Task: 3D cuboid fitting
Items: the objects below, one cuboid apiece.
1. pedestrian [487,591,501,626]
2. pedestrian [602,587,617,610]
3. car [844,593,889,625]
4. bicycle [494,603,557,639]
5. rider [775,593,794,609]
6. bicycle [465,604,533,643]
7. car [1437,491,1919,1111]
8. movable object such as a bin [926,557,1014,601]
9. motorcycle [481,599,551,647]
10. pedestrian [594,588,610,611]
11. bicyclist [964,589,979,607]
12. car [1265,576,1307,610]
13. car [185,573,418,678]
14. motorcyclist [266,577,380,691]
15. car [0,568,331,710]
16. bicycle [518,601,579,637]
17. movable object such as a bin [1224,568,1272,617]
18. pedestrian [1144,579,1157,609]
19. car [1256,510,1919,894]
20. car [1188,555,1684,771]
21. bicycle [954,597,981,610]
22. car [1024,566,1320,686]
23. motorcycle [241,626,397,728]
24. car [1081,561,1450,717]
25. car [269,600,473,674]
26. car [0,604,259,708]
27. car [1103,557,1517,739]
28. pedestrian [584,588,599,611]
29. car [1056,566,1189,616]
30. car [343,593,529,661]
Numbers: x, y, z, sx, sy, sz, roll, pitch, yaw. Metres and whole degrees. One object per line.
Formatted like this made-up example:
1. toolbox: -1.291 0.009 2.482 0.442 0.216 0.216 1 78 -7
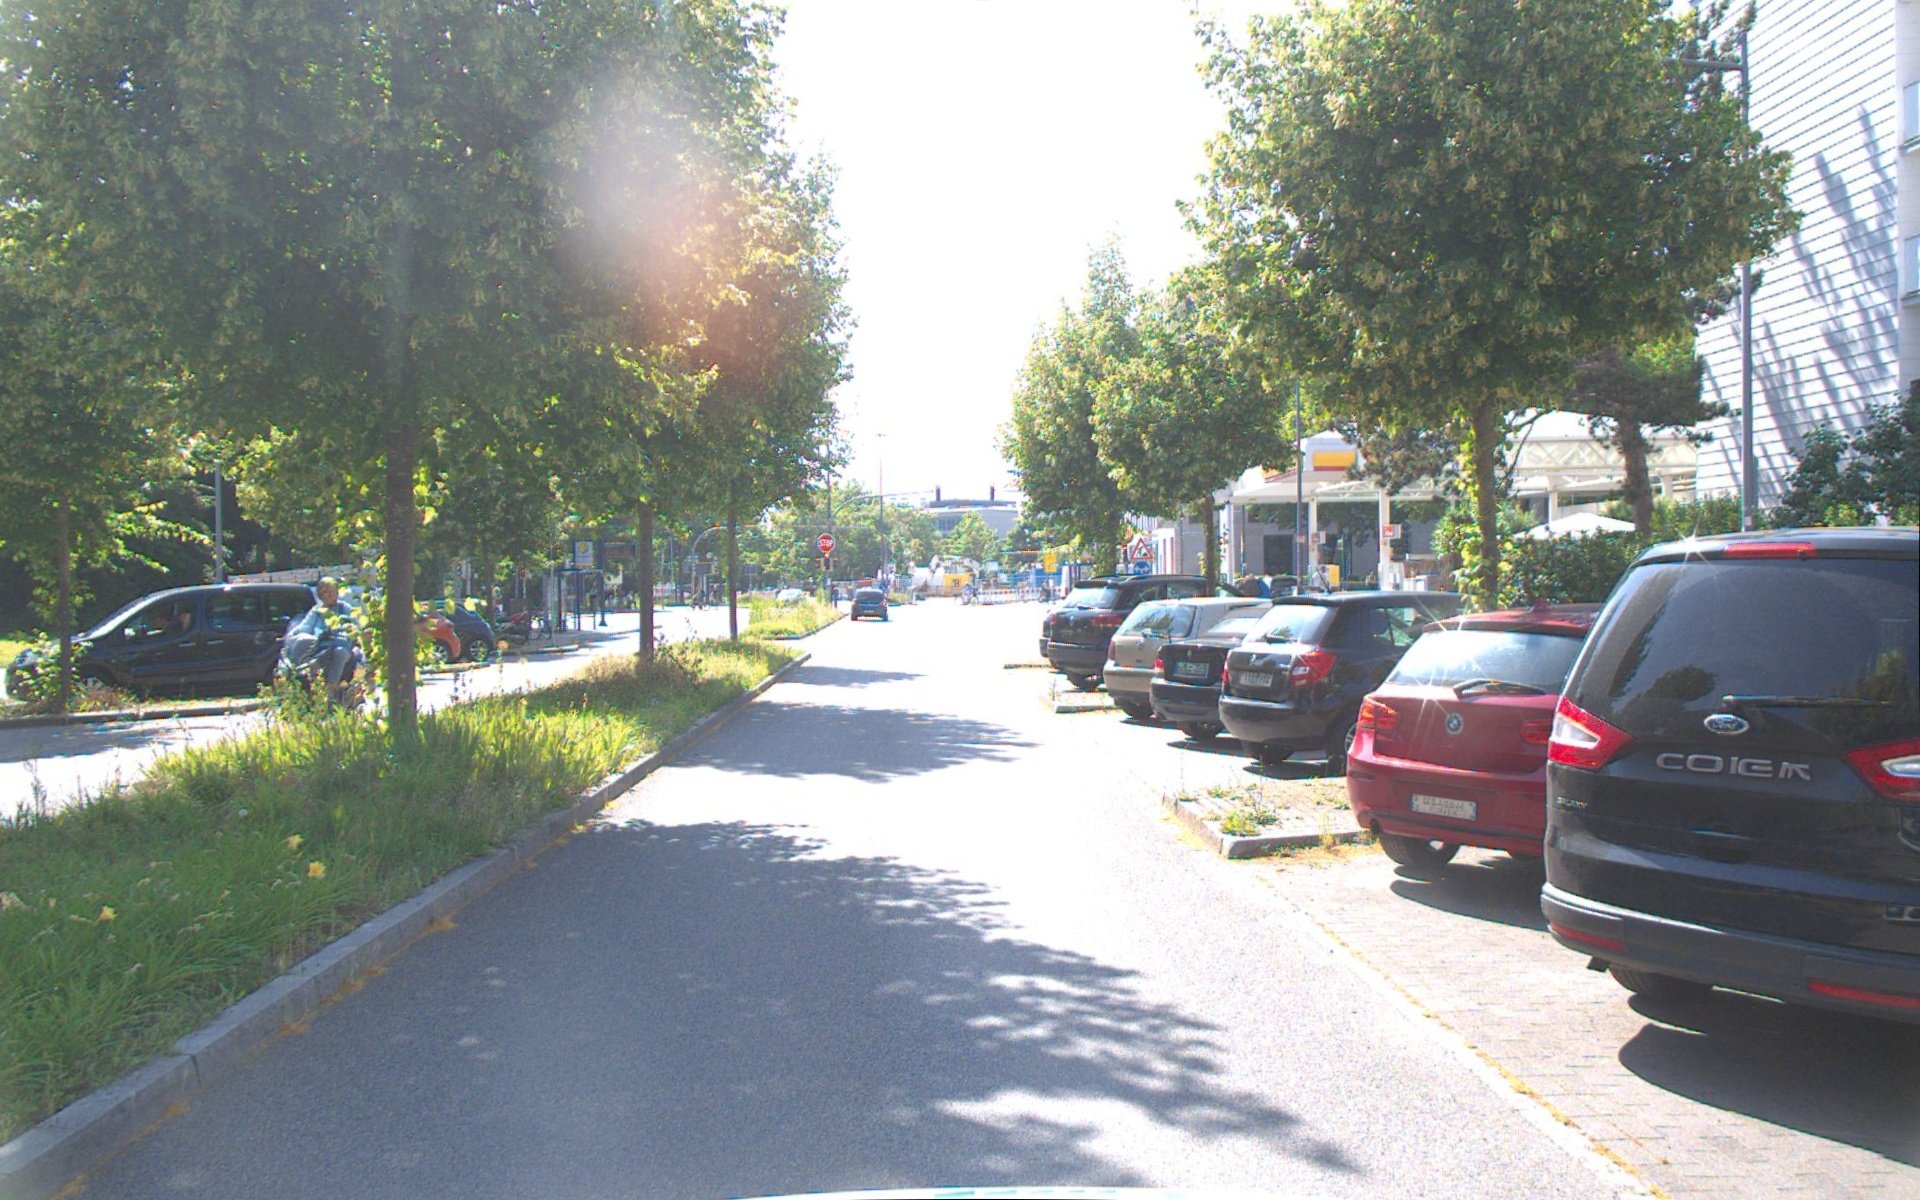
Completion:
1. pedestrian: -24.312 0.442 86.245 0.649 1.756 0.749 -1 0 -20
2. pedestrian: -25.081 -0.078 118.493 0.641 1.639 0.942 0 0 21
3. car: -4.386 0.389 77.294 1.955 1.422 3.996 -1 0 -5
4. bicycle: -13.904 0.675 52.969 1.808 1.125 0.693 -1 0 -1
5. rider: -14.033 0.064 132.214 1.364 1.216 2.695 -1 0 -4
6. bicycle: -13.756 0.693 49.372 1.808 1.111 0.693 -1 0 -1
7. car: 3.895 0.506 6.124 4.073 1.668 2.019 -1 0 -36
8. movable object such as a bin: 1.070 -2.295 180.179 9.477 4.629 3.164 -1 0 0
9. motorcycle: -12.460 0.633 46.452 1.811 1.307 0.691 -1 0 -9
10. pedestrian: -25.802 -0.071 119.213 0.641 1.639 0.942 0 0 21
11. bicyclist: 0.854 -0.164 120.950 1.031 1.297 0.492 -1 0 -3
12. car: 14.088 -0.310 71.540 1.615 1.422 3.645 -1 0 9
13. car: -12.155 0.426 30.577 3.728 1.803 1.798 -1 0 -33
14. motorcyclist: -7.215 0.367 18.779 0.882 1.242 1.062 -1 0 -1
15. car: -11.807 0.501 24.628 4.149 1.848 1.975 -2 2 -40
16. bicycle: -13.486 0.623 54.221 1.808 1.142 0.693 -1 0 -1
17. movable object such as a bin: 10.060 -0.267 57.777 1.282 1.619 1.394 -3 0 -4
18. pedestrian: 10.037 -0.342 87.169 0.606 1.570 0.461 -1 0 -3
19. car: 3.649 0.433 9.208 3.963 1.668 1.853 -1 0 -41
20. car: 4.166 0.472 14.539 3.930 1.668 1.789 -1 0 -21
21. bicycle: 0.548 0.260 120.949 1.960 0.899 0.527 -1 0 -3
22. car: 3.365 0.352 25.768 4.693 1.689 1.731 -1 0 -36
23. motorcycle: -7.190 0.838 18.690 0.904 1.010 2.234 -1 0 -1
24. car: 3.560 0.414 19.488 3.919 1.668 1.746 -1 0 -14
25. car: -12.585 0.763 35.438 3.803 1.448 1.692 -1 0 -38
26. car: -13.559 0.853 26.879 3.728 1.452 1.835 -2 1 -33
27. car: 3.618 0.413 17.077 3.935 1.668 1.740 -1 1 -24
28. pedestrian: -26.562 -0.059 119.211 0.641 1.639 0.942 0 0 21
29. car: 9.435 -0.537 96.577 7.284 2.721 2.900 -1 1 -5
30. car: -12.238 0.593 38.713 3.743 1.448 1.827 -1 1 -43
